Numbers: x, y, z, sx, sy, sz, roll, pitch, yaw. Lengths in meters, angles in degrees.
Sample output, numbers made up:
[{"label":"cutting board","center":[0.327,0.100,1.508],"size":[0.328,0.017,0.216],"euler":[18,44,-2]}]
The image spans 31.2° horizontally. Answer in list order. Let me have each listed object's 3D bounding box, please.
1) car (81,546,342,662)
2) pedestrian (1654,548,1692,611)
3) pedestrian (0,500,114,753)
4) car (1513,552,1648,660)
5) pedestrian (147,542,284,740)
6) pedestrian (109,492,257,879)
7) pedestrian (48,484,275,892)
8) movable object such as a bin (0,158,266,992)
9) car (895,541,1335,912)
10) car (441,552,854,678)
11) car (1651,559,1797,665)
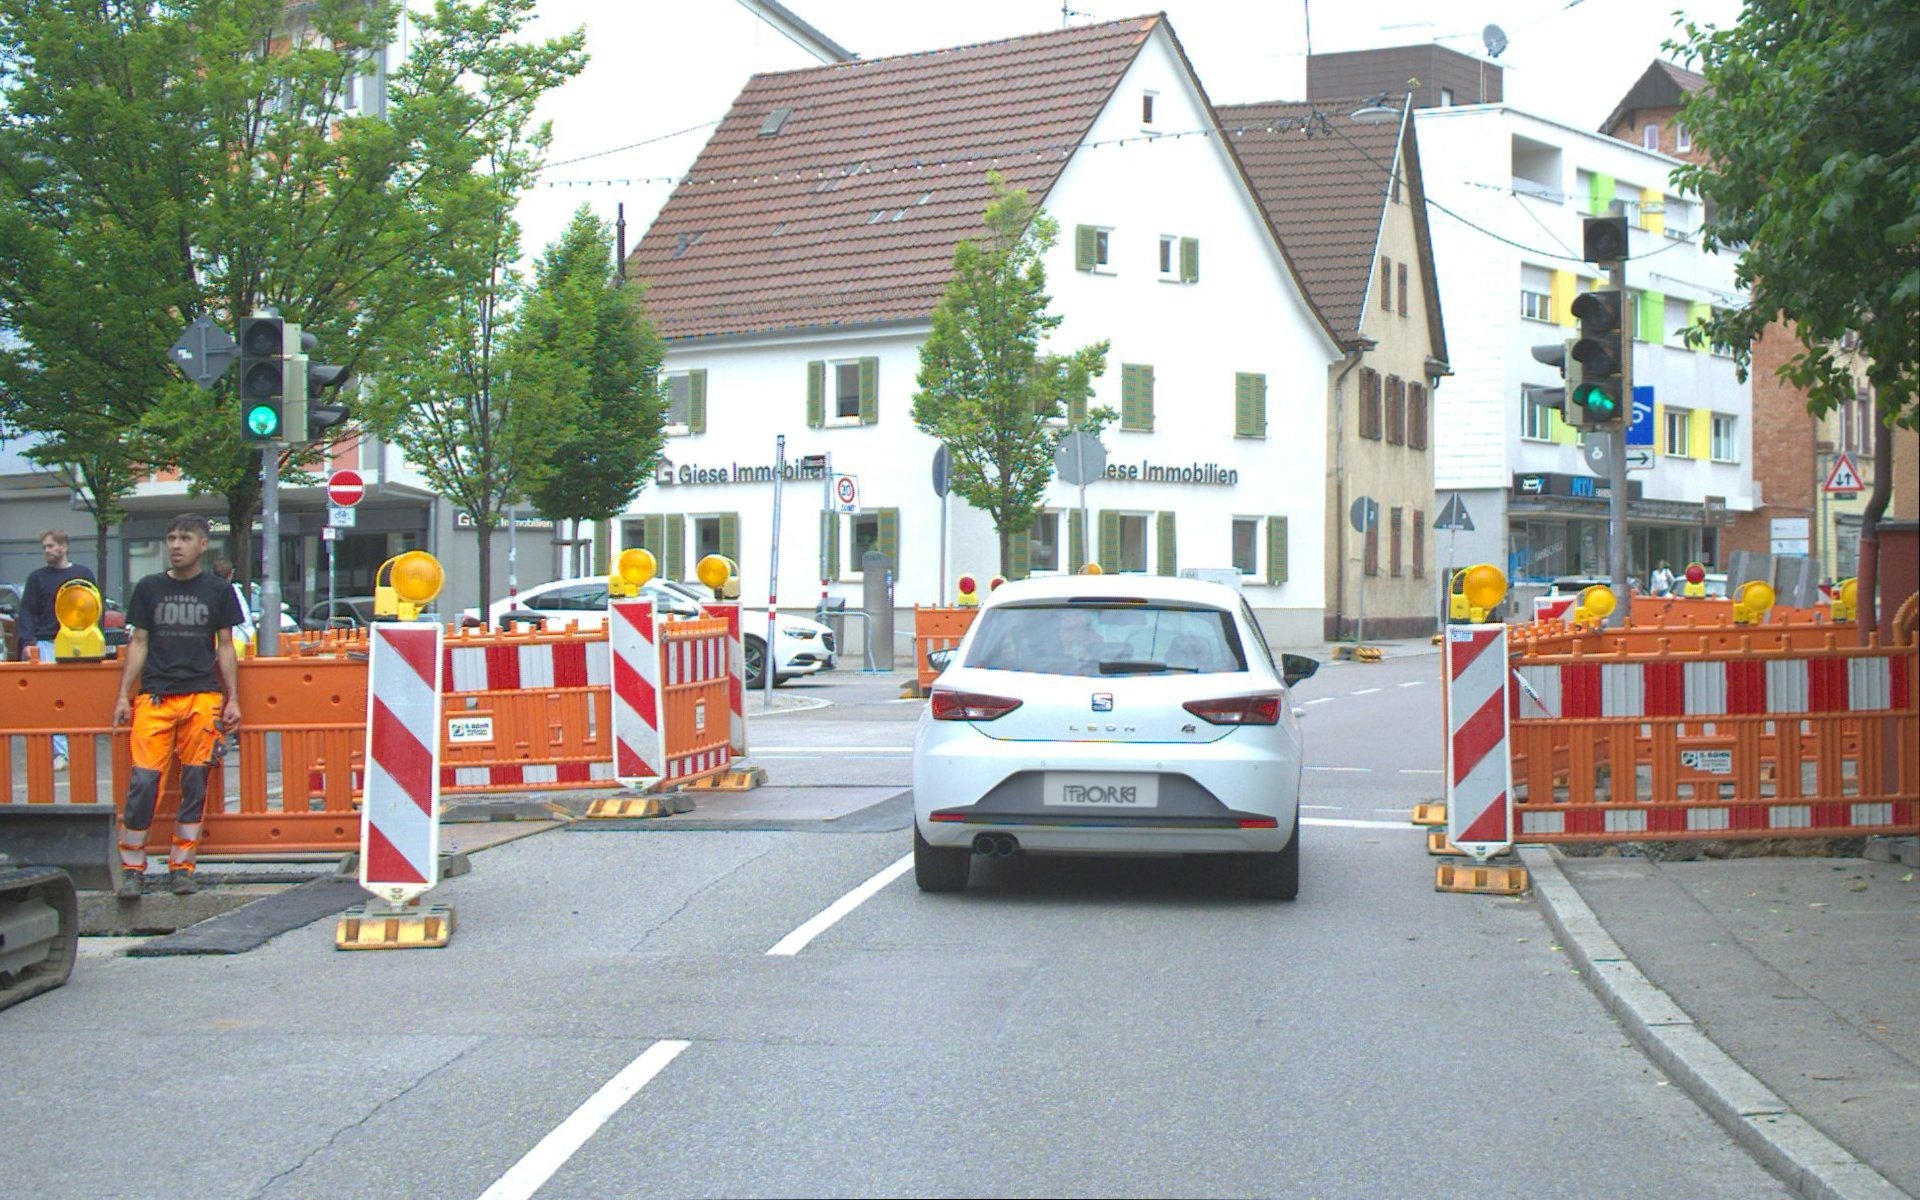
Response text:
[{"label":"car","center":[-11.092,0.028,50.688],"size":[2.015,1.552,4.918],"euler":[0,1,-35]},{"label":"pedestrian","center":[18.781,-0.550,90.571],"size":[0.893,1.659,0.861],"euler":[0,1,17]},{"label":"pedestrian","center":[-6.995,0.196,26.554],"size":[0.814,1.919,0.785],"euler":[0,1,-19]},{"label":"car","center":[9.220,0.055,50.883],"size":[1.812,1.475,3.868],"euler":[0,2,12]},{"label":"pedestrian","center":[-6.084,0.324,28.103],"size":[0.682,1.586,0.878],"euler":[0,1,28]},{"label":"pedestrian","center":[-3.536,0.380,15.657],"size":[0.537,1.738,0.444],"euler":[0,1,6]},{"label":"pedestrian","center":[-3.632,0.385,15.679],"size":[0.814,1.809,0.743],"euler":[0,1,5]},{"label":"movable object such as a bin","center":[-4.019,-0.080,12.417],"size":[1.839,2.754,4.505],"euler":[0,0,4]},{"label":"car","center":[0.624,0.506,16.568],"size":[1.811,1.475,3.871],"euler":[2,1,-1]},{"label":"car","center":[-3.958,0.167,44.045],"size":[4.904,1.472,2.249],"euler":[1,1,6]},{"label":"car","center":[14.894,0.201,66.883],"size":[1.996,2.007,3.995],"euler":[0,1,24]}]
